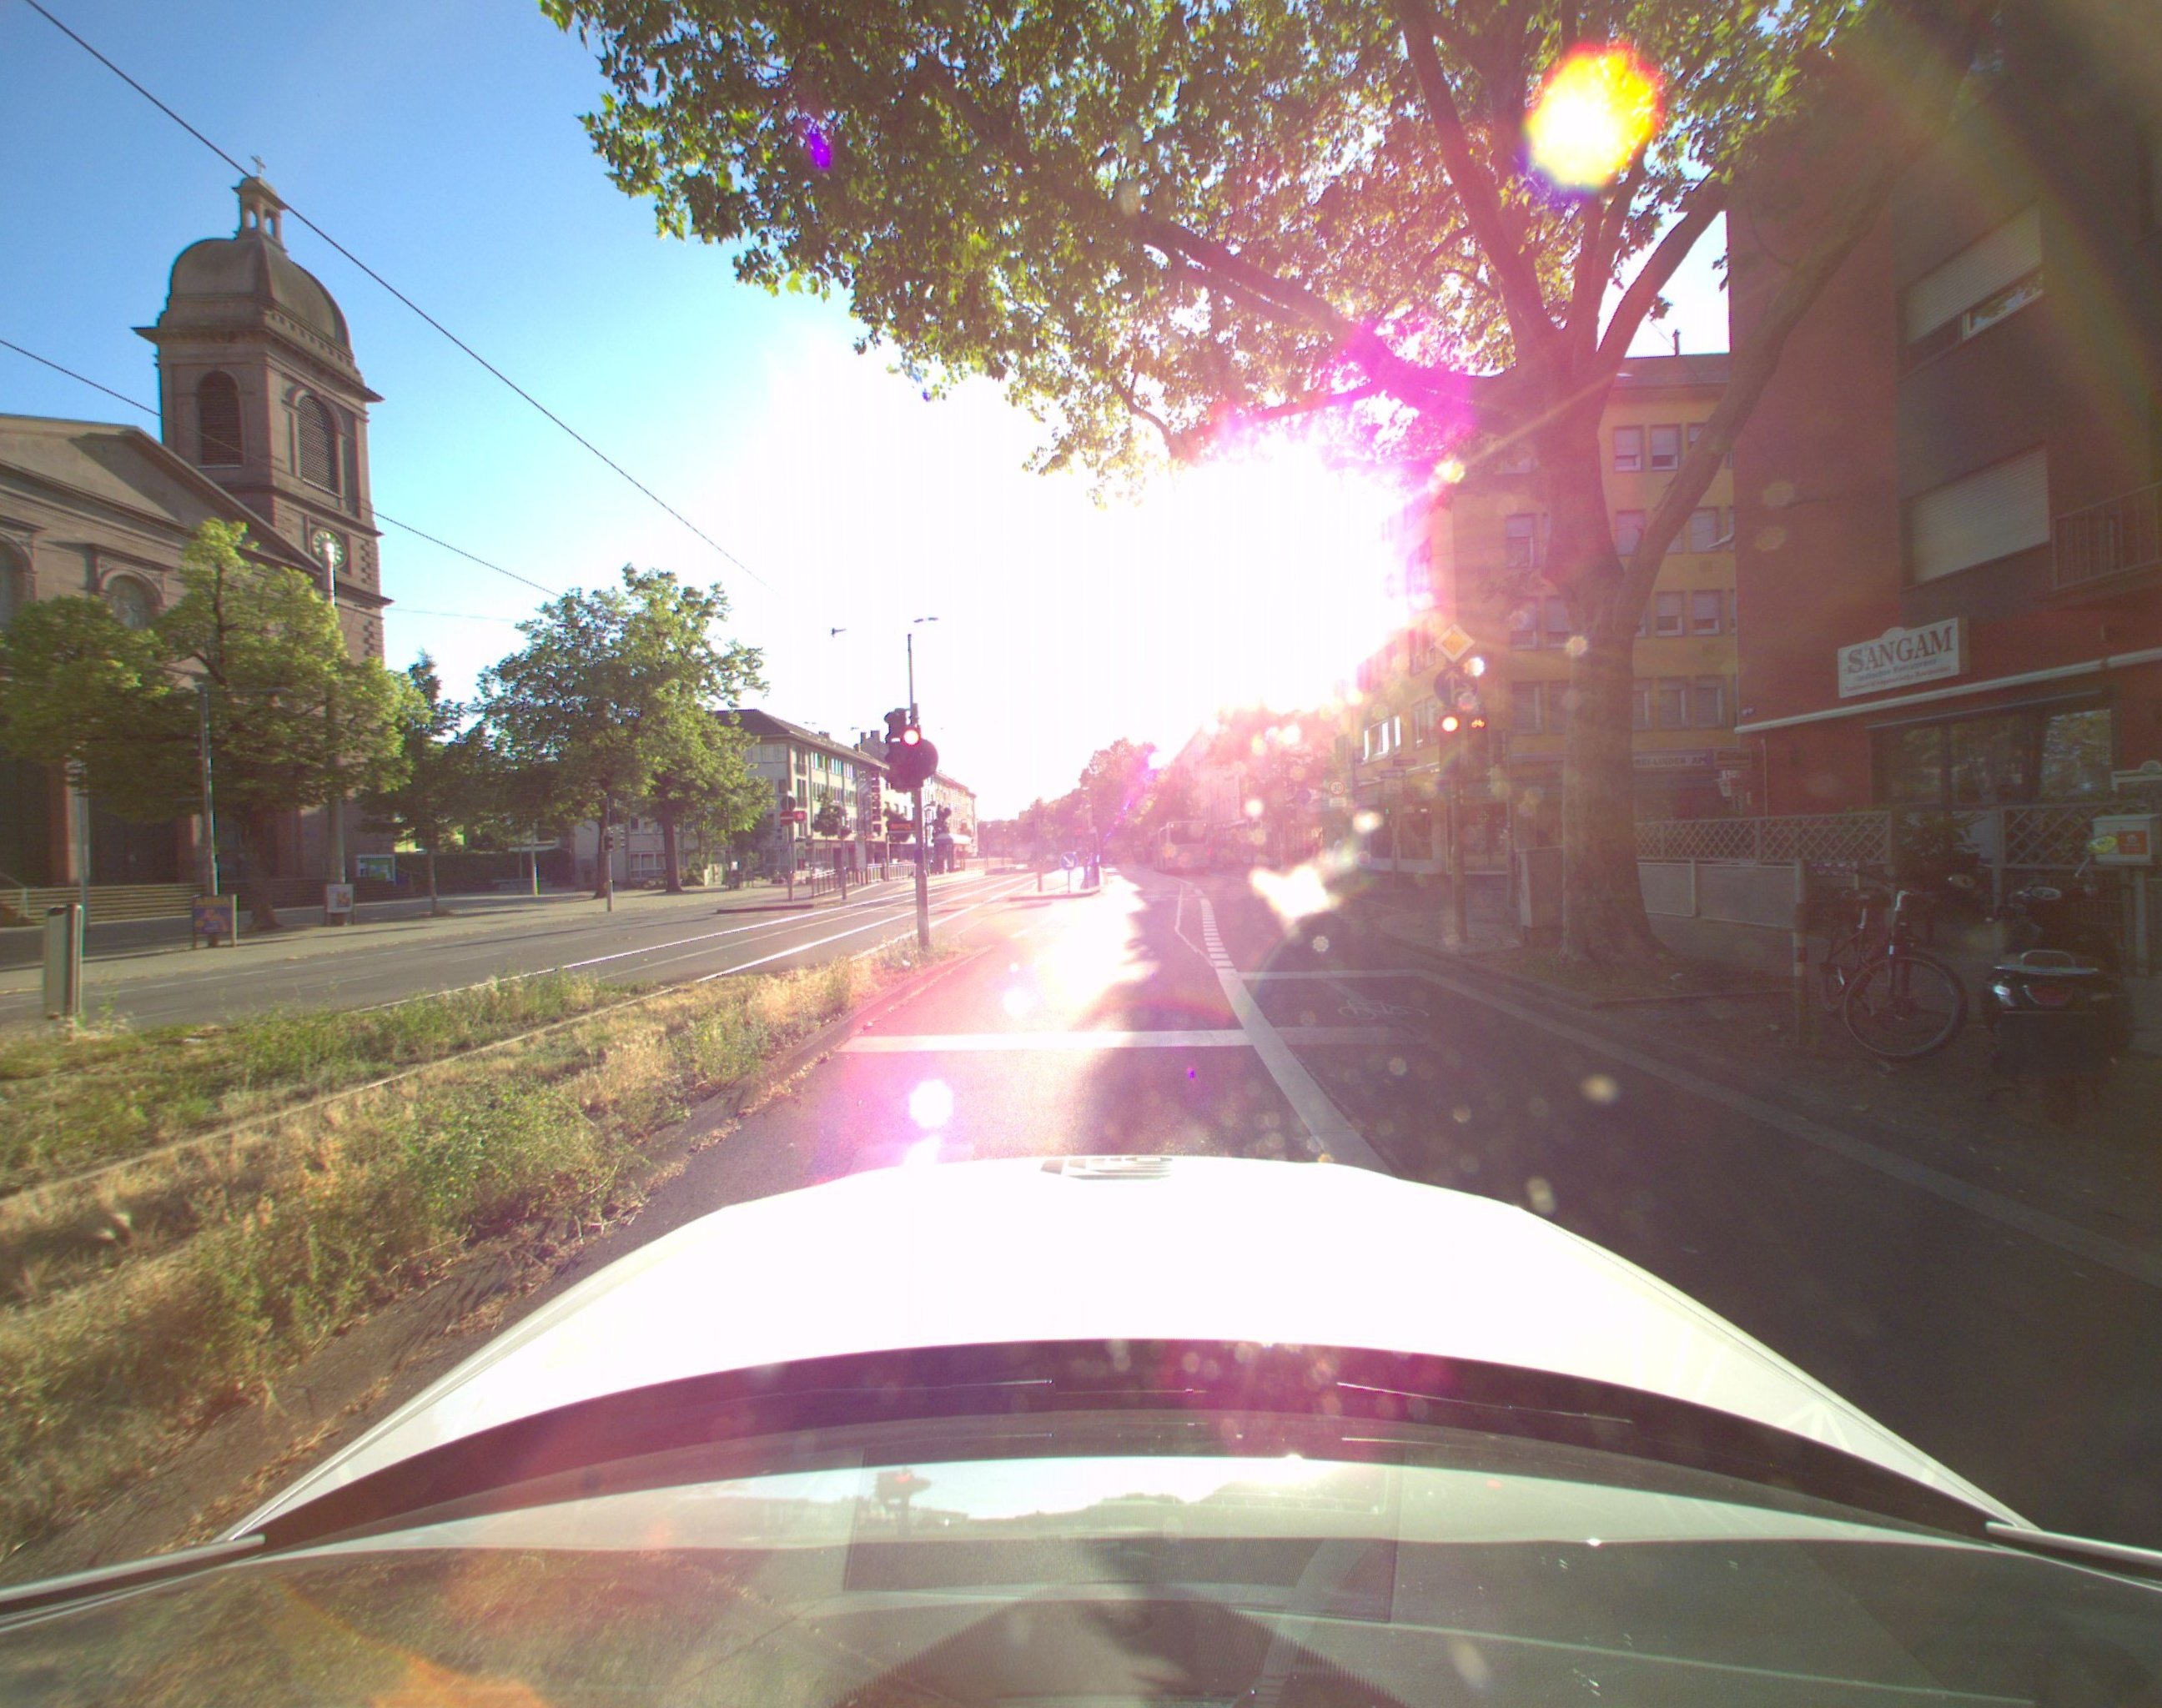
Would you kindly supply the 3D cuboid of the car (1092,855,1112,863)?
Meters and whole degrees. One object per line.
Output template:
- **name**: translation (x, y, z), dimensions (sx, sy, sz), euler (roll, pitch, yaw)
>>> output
- **car**: translation (4.399, 1.070, 169.025), dimensions (3.911, 1.596, 1.676), euler (-2, 0, -27)

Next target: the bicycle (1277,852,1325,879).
- **bicycle**: translation (9.090, 0.472, 33.697), dimensions (1.766, 1.021, 0.694), euler (-3, 0, 1)

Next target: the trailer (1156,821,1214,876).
- **trailer**: translation (6.352, -0.316, 50.978), dimensions (2.801, 3.110, 8.798), euler (0, 0, 2)

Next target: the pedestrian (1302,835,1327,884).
- **pedestrian**: translation (8.649, 0.183, 30.153), dimensions (0.677, 1.770, 0.687), euler (-2, 0, 2)

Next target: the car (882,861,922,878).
- **car**: translation (-20.453, 1.739, 93.076), dimensions (4.006, 1.816, 1.984), euler (-2, 0, -25)

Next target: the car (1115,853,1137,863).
- **car**: translation (8.940, 0.782, 161.322), dimensions (3.911, 1.699, 1.817), euler (-2, 0, -27)

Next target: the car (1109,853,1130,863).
- **car**: translation (7.792, 0.804, 164.331), dimensions (3.911, 1.699, 1.817), euler (-2, 0, -27)

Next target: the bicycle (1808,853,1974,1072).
- **bicycle**: translation (5.708, 0.659, 5.839), dimensions (0.687, 1.203, 1.859), euler (0, 4, 40)

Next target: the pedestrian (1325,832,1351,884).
- **pedestrian**: translation (8.987, 0.136, 28.502), dimensions (0.677, 1.770, 0.687), euler (-2, 0, 2)

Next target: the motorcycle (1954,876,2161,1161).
- **motorcycle**: translation (5.299, 0.746, 4.467), dimensions (2.009, 1.152, 0.594), euler (-2, 0, -41)

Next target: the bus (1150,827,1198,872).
- **bus**: translation (6.680, -0.319, 59.909), dimensions (2.801, 3.101, 9.098), euler (0, 0, 2)
